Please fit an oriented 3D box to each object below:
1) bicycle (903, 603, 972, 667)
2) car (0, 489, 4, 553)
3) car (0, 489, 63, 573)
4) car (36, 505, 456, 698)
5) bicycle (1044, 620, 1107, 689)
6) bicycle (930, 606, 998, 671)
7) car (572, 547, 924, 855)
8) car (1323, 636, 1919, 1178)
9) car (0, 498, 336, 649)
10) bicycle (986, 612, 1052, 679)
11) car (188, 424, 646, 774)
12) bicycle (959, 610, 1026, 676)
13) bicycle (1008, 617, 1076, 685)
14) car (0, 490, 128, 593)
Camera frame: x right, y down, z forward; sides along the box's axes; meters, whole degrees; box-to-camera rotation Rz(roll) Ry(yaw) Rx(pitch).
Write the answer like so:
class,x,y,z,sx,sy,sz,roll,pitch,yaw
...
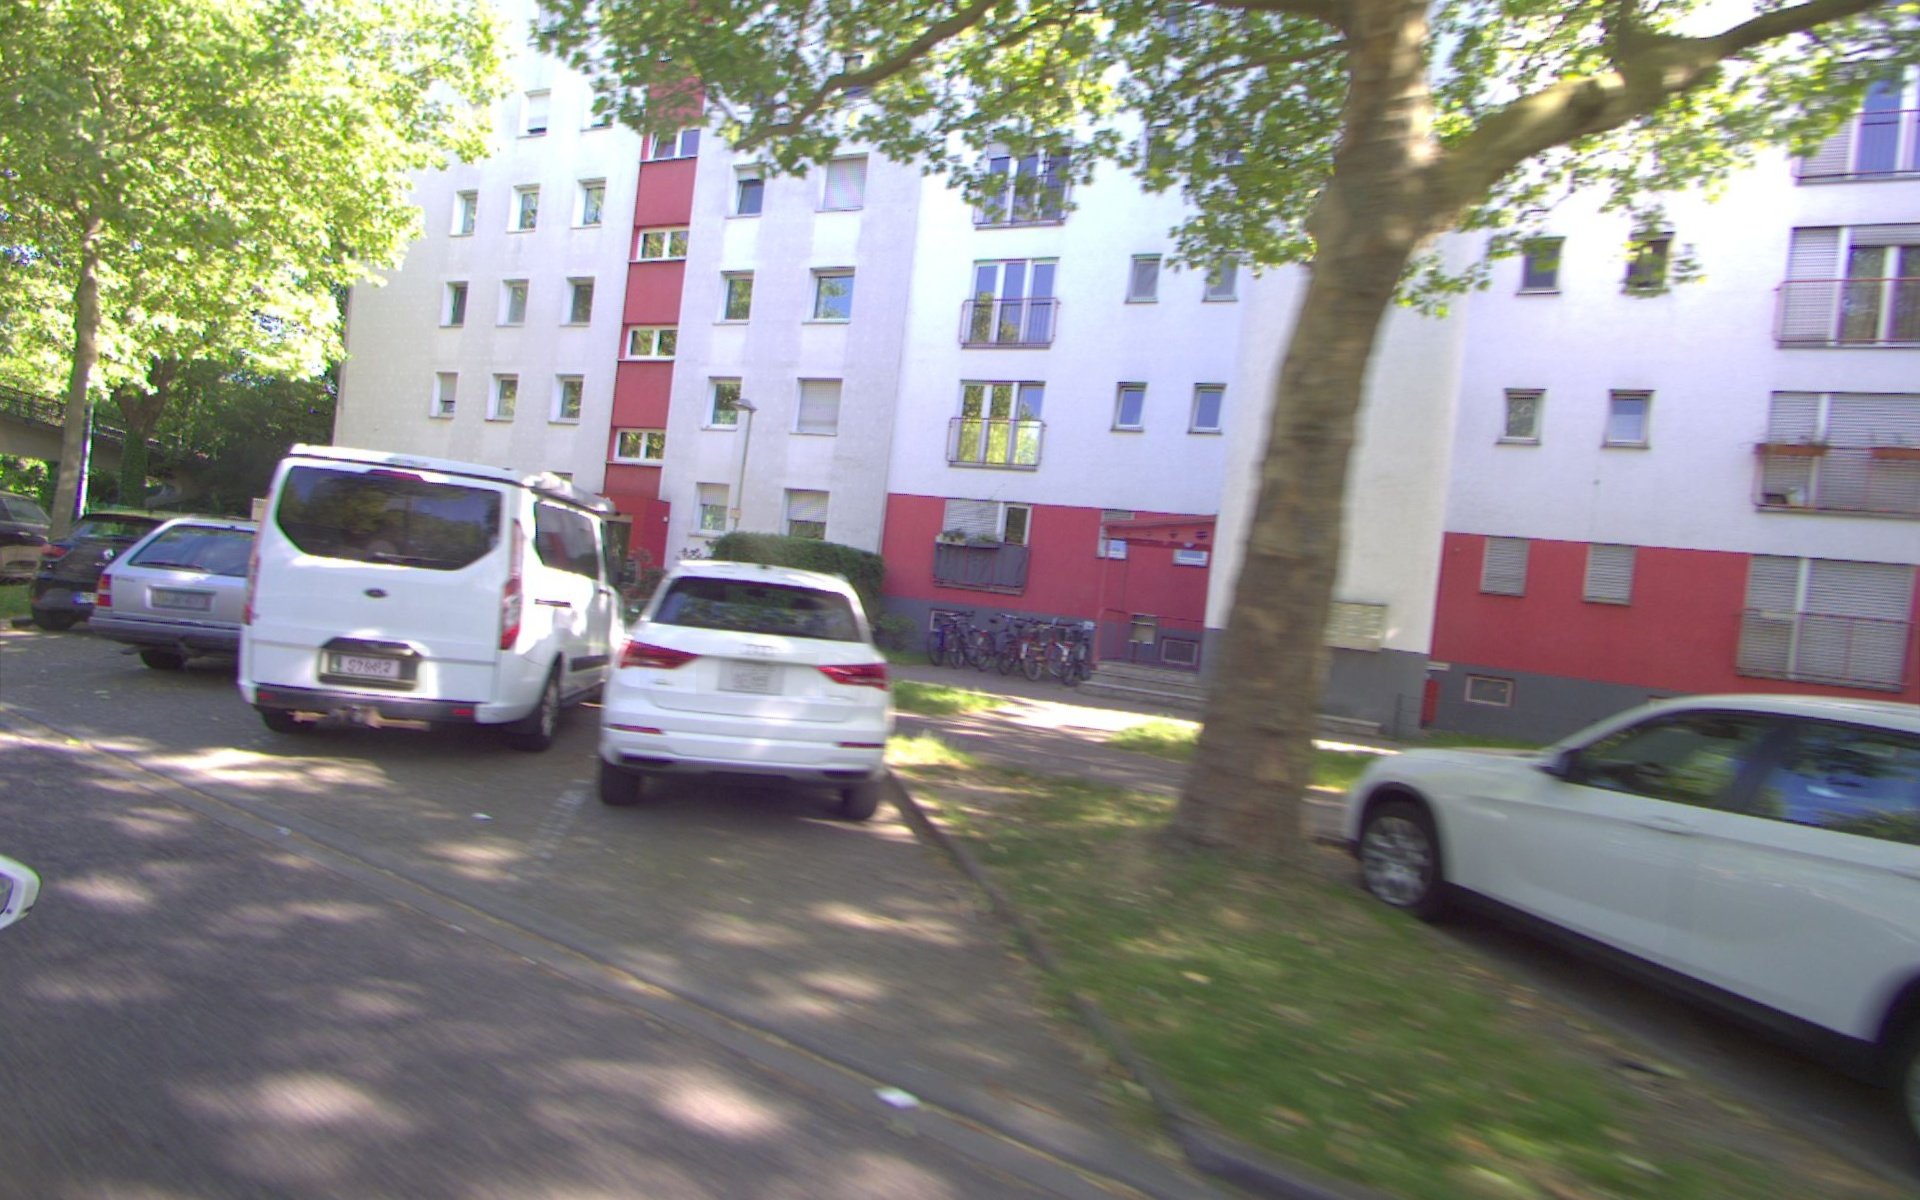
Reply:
class,x,y,z,sx,sy,sz,roll,pitch,yaw
bicycle,-0.408,0.658,19.547,0.491,1.145,1.796,7,2,25
car,-20.349,-1.577,18.560,1.769,1.480,4.247,6,1,-9
car,-17.644,-1.273,16.891,1.769,1.480,4.247,6,1,-9
car,-7.049,-0.043,10.634,1.770,1.442,4.579,6,1,-11
bicycle,2.128,0.960,18.349,0.491,1.145,1.796,7,2,25
bicycle,0.099,0.723,19.268,0.491,1.145,1.796,7,2,25
car,-1.575,0.529,7.611,1.802,1.601,4.046,5,1,-12
car,3.755,1.159,4.448,1.772,1.530,4.195,5,1,-17
car,-9.680,-0.340,12.685,1.770,1.435,3.912,6,1,-12
bicycle,1.132,0.834,18.919,0.491,1.145,1.796,7,2,25
car,-4.189,-0.039,8.772,1.983,2.079,4.580,6,1,-9
bicycle,0.646,0.790,19.083,0.491,1.145,1.796,7,2,25
bicycle,1.537,0.907,18.501,0.540,1.145,1.796,7,2,25
car,-15.023,-0.966,15.423,1.753,1.487,3.989,6,1,-12
